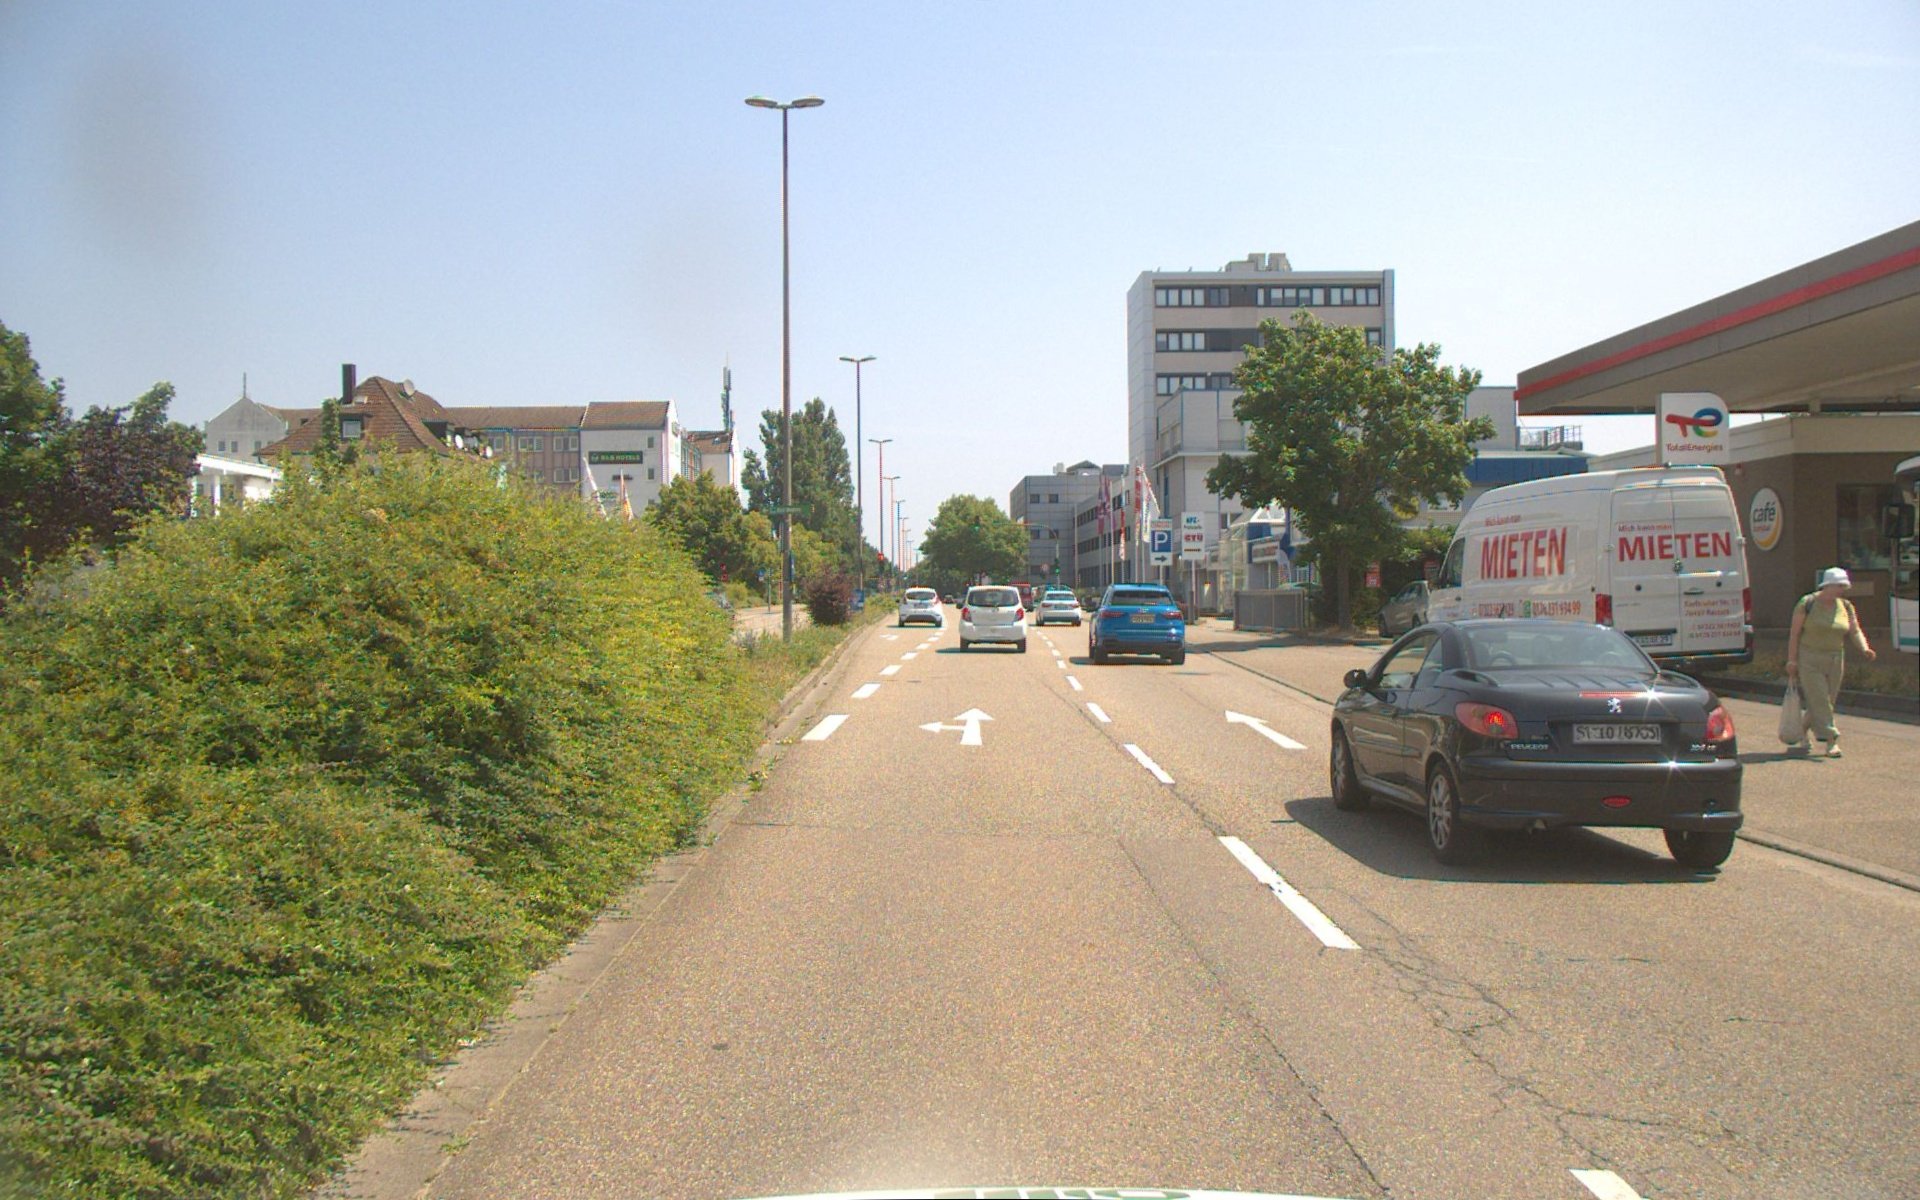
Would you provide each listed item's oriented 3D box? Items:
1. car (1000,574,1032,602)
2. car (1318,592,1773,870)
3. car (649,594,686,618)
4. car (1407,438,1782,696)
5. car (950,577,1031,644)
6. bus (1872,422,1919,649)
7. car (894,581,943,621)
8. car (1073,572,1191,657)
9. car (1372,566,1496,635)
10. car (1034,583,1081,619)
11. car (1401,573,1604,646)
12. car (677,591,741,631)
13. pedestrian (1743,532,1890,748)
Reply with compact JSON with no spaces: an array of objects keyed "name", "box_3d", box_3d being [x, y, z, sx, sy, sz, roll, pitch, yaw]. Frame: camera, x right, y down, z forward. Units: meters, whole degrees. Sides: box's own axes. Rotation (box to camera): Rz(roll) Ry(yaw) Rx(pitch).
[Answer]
[{"name":"car","box_3d":[3.655,-0.770,109.205,1.759,1.759,3.969,0,-1,-3]},{"name":"car","box_3d":[3.479,0.684,10.530,1.567,1.450,3.661,0,0,-1]},{"name":"car","box_3d":[-17.538,0.377,99.284,1.865,1.378,3.994,0,-2,-6]},{"name":"car","box_3d":[8.419,-0.414,23.018,2.090,2.888,7.307,-4,0,-1]},{"name":"car","box_3d":[0.695,0.252,39.713,1.678,1.537,3.244,0,0,-4]},{"name":"bus","box_3d":[14.471,-0.784,17.956,2.746,3.132,12.289,0,1,2]},{"name":"car","box_3d":[-1.573,0.080,64.004,1.792,1.475,3.999,0,-1,0]},{"name":"car","box_3d":[3.519,0.247,34.585,1.874,1.625,4.394,0,1,-2]},{"name":"car","box_3d":[11.492,0.055,40.326,1.714,1.538,3.997,0,-2,-3]},{"name":"car","box_3d":[3.986,0.025,67.974,1.633,1.423,3.793,0,0,-1]},{"name":"car","box_3d":[11.718,0.219,35.927,3.902,1.538,1.747,0,-2,6]},{"name":"car","box_3d":[-9.558,0.406,63.303,1.859,1.412,4.066,-2,1,-1]},{"name":"pedestrian","box_3d":[7.524,0.332,14.551,0.799,1.778,0.703,-5,2,-2]}]
